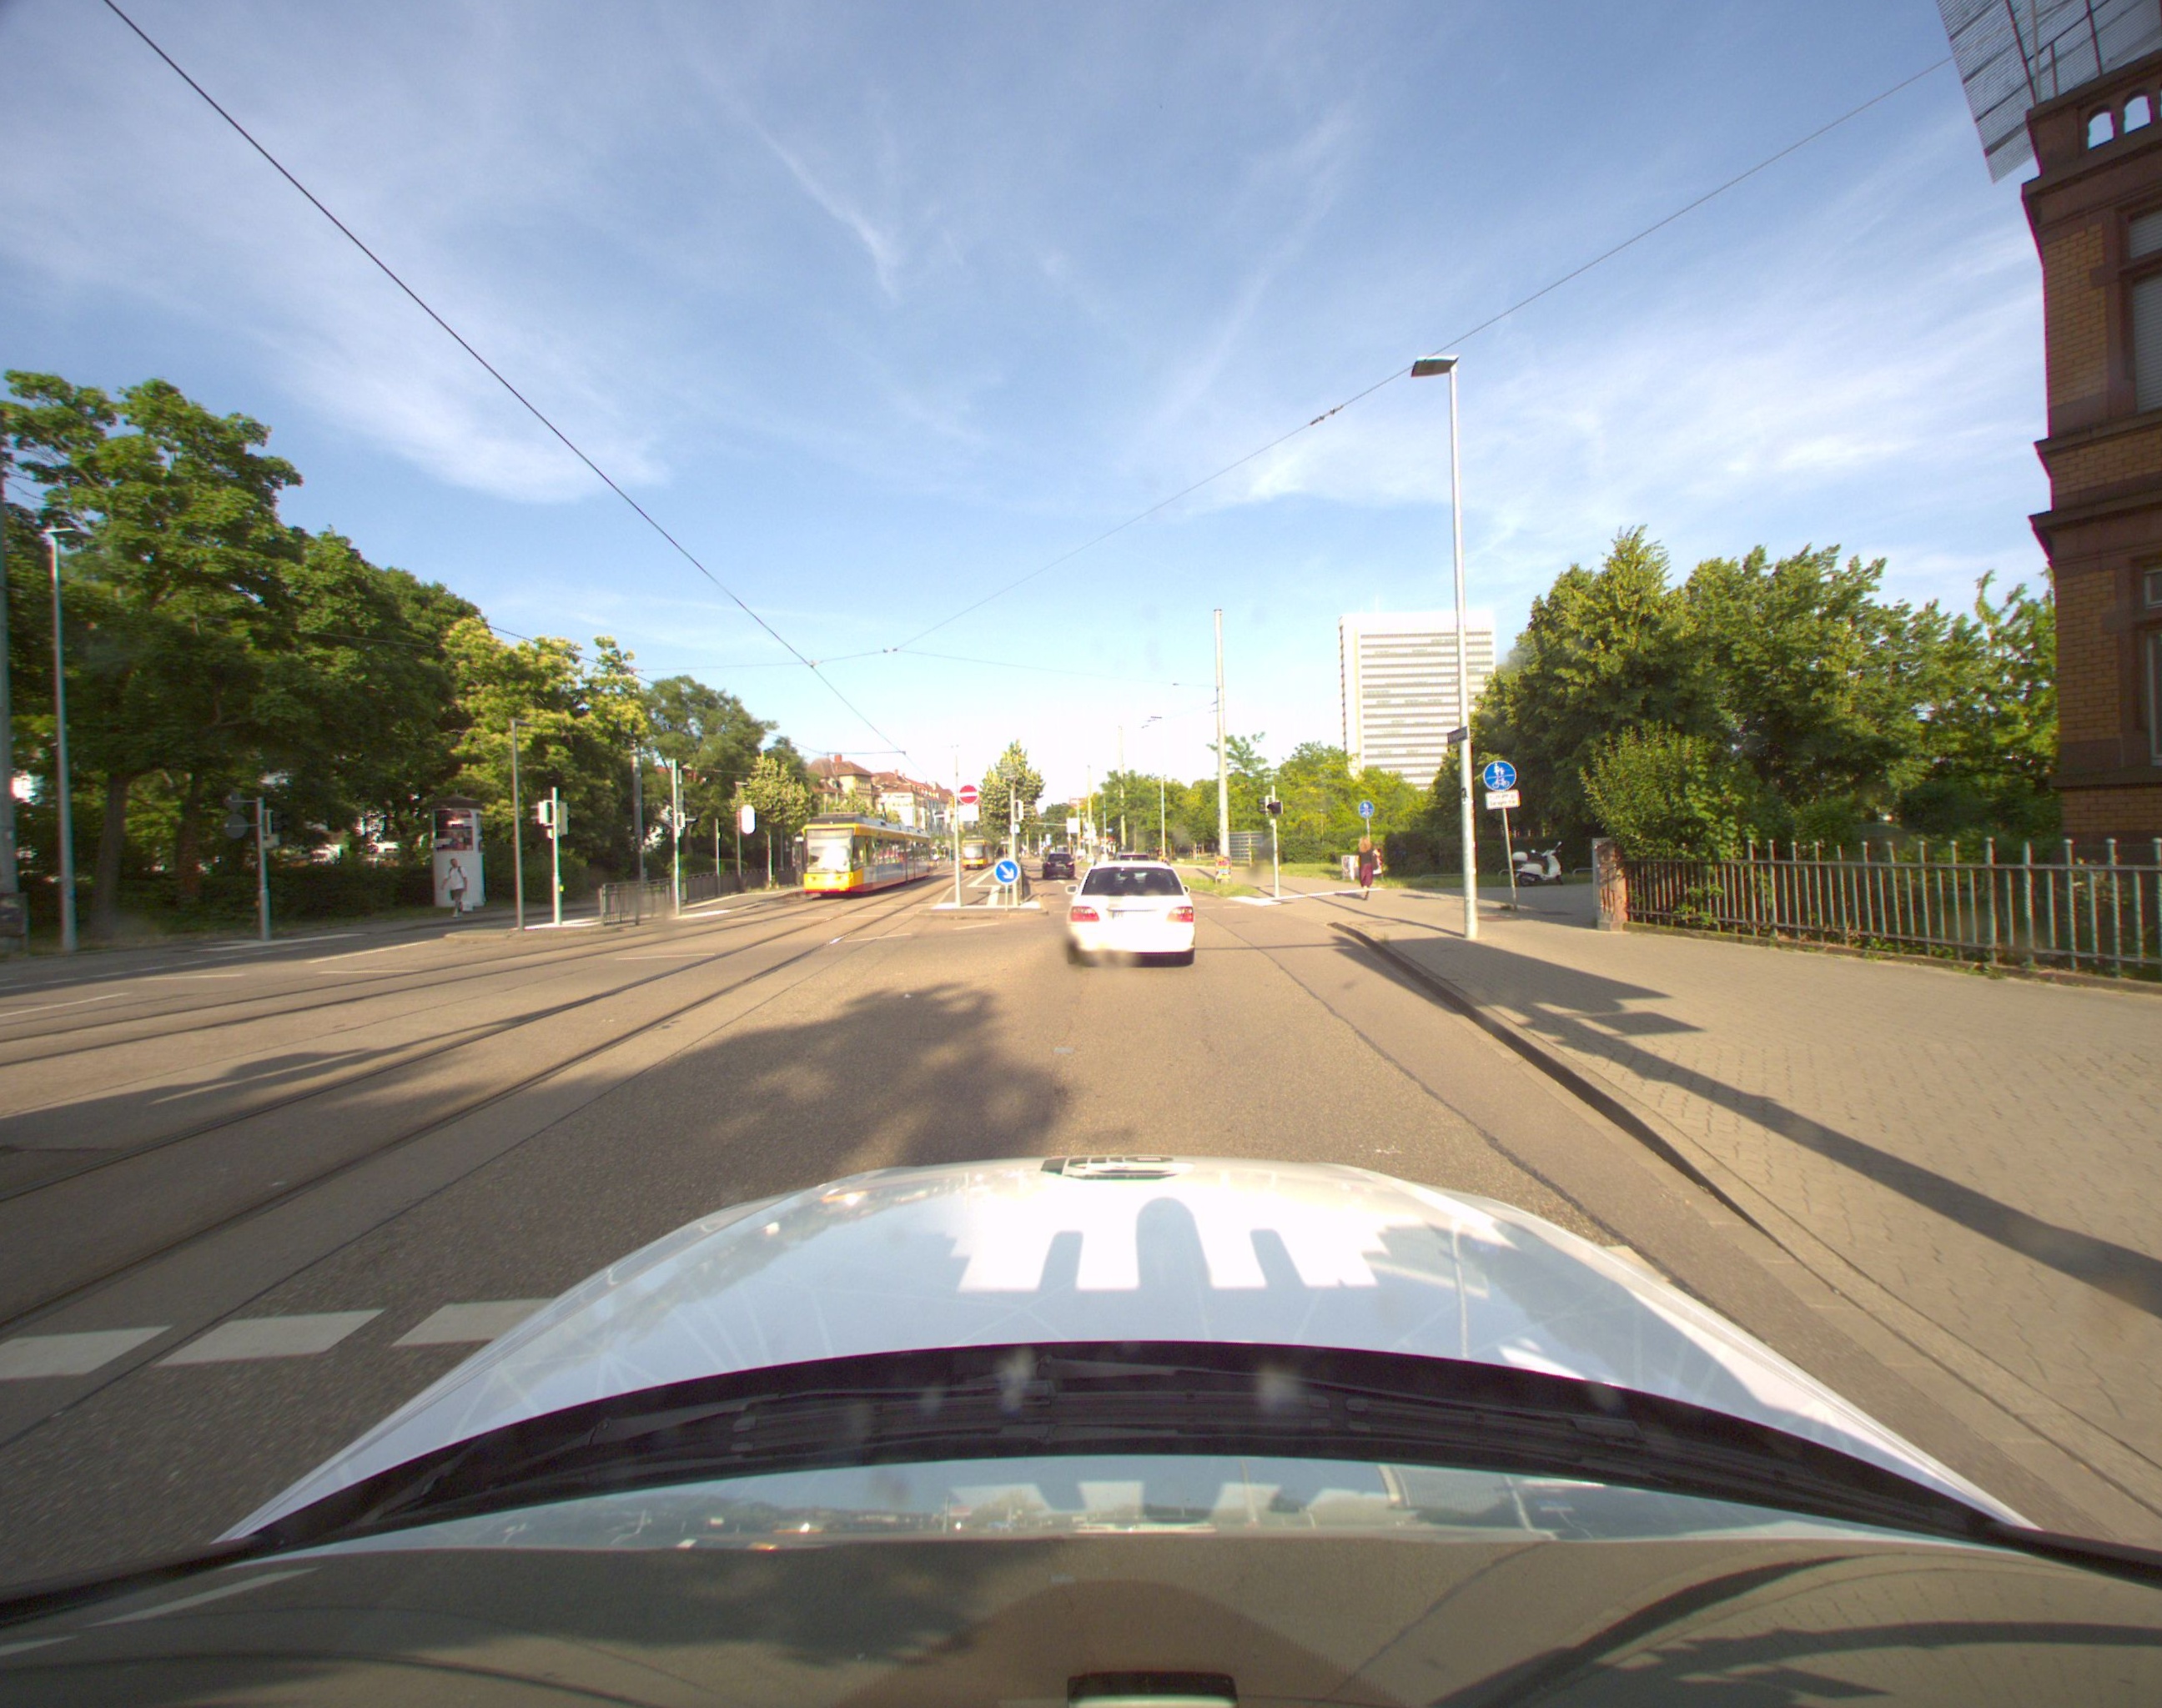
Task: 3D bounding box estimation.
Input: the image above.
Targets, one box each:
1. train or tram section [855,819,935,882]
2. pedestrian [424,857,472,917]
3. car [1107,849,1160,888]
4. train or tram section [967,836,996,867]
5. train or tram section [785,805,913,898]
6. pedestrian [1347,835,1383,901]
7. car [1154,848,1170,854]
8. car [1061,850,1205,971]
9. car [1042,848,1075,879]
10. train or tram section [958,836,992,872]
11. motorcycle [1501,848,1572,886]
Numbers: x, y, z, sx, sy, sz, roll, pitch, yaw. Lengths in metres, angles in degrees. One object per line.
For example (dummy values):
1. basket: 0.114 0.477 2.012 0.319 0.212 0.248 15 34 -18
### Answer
1. train or tram section: -11.650 -0.266 52.553 3.157 3.479 14.443 -1 0 -6
2. pedestrian: -20.680 1.070 26.620 1.005 1.909 0.704 -1 0 -18
3. car: 2.278 0.609 36.243 2.027 1.605 3.999 -1 0 -1
4. train or tram section: -12.011 -0.294 99.145 2.844 3.479 13.179 -1 0 -4
5. train or tram section: -10.298 -0.165 38.158 3.157 3.479 14.504 -1 0 -6
6. pedestrian: 7.632 0.363 21.912 0.613 1.692 0.548 -6 0 -1
7. car: 21.648 -0.777 217.179 4.014 1.651 1.980 -2 0 -31
8. car: 0.624 0.739 12.450 1.754 1.503 3.996 -1 0 -2
9. car: -1.275 0.525 47.879 1.782 1.690 3.999 -1 0 0
10. train or tram section: -11.077 -0.068 86.214 2.844 3.479 13.179 0 1 -4
11. motorcycle: 14.576 0.393 26.067 1.996 1.159 0.705 -1 0 -11
